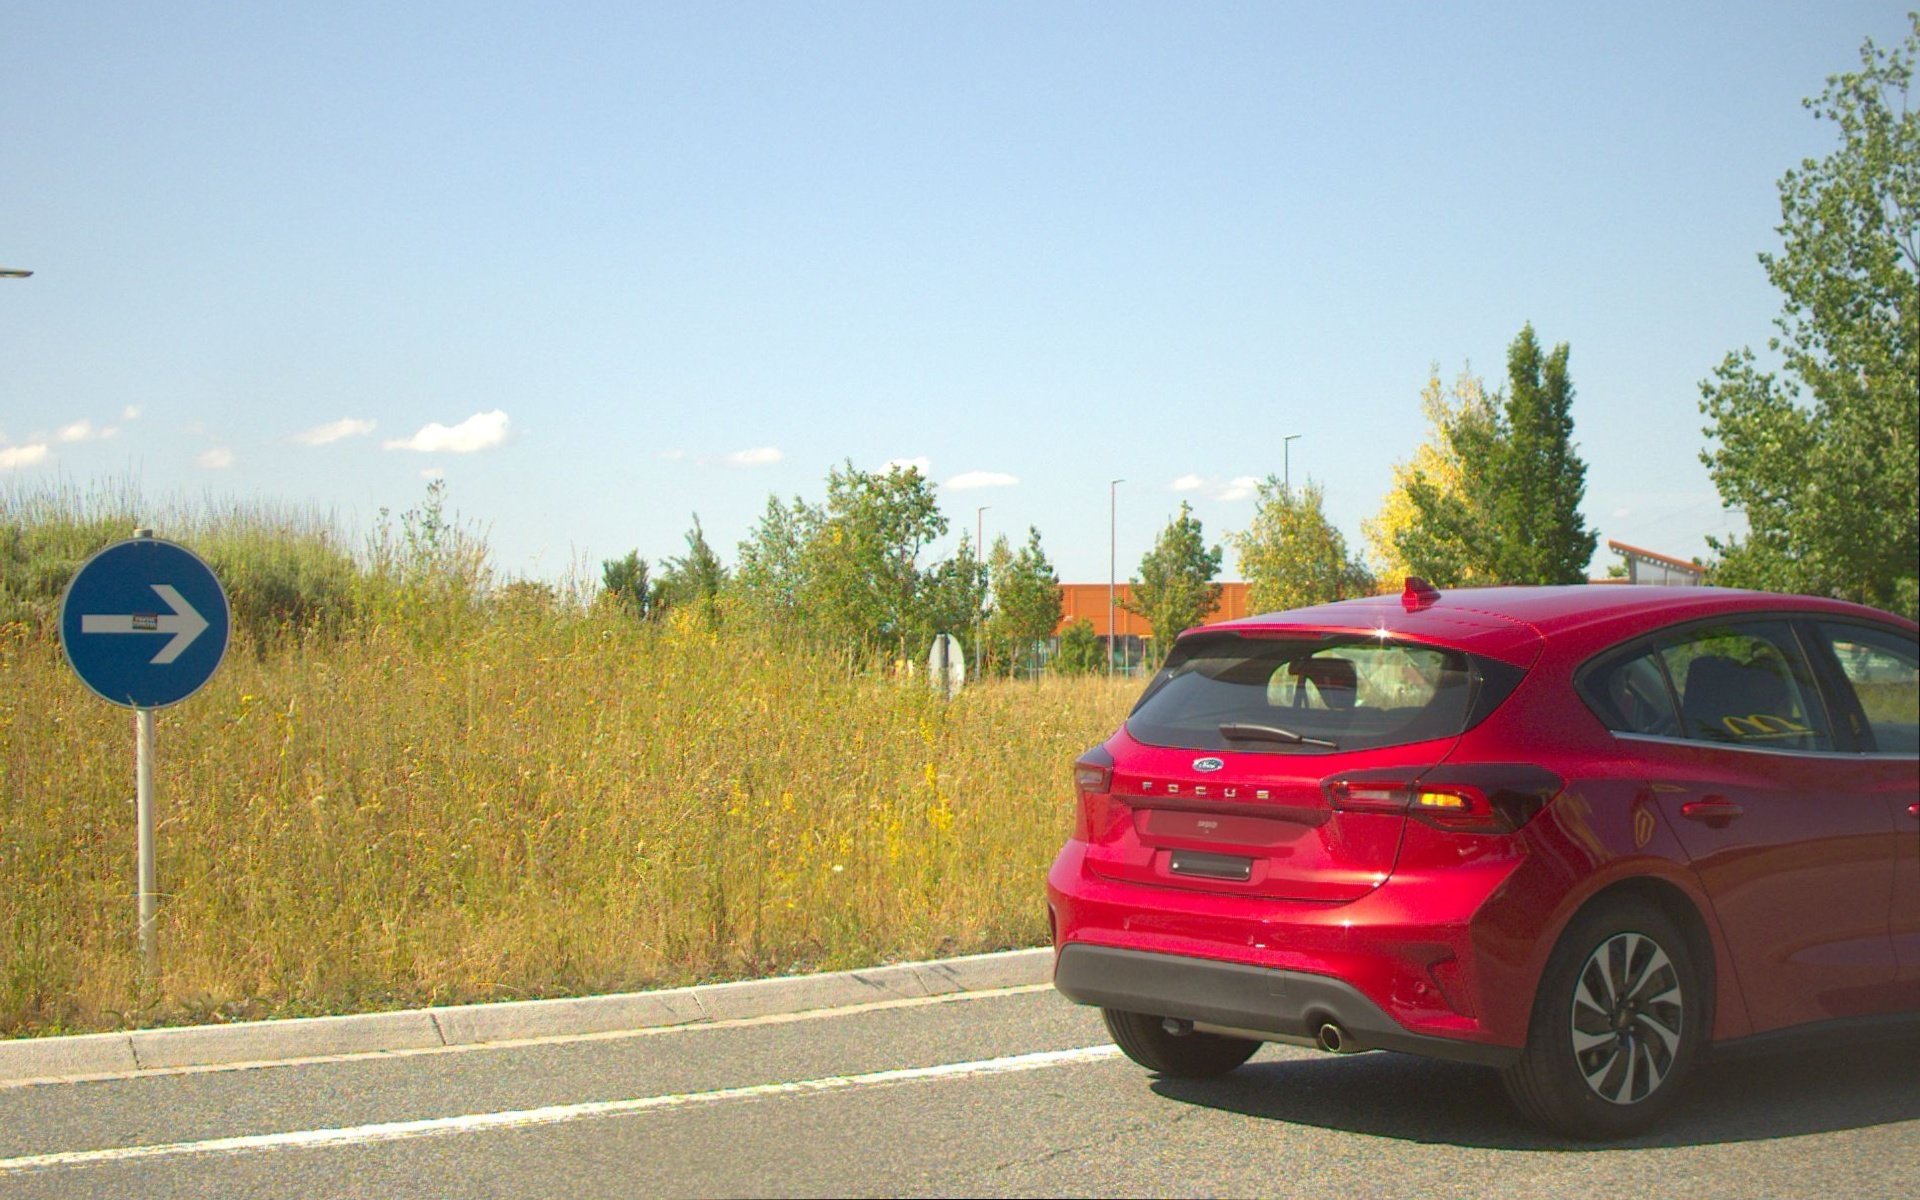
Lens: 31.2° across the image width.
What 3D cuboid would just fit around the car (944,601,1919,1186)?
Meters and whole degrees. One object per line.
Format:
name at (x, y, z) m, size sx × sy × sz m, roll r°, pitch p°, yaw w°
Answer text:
car at (2.122, 0.712, 10.297) m, size 4.105 × 1.411 × 1.808 m, roll 0°, pitch 0°, yaw -39°
